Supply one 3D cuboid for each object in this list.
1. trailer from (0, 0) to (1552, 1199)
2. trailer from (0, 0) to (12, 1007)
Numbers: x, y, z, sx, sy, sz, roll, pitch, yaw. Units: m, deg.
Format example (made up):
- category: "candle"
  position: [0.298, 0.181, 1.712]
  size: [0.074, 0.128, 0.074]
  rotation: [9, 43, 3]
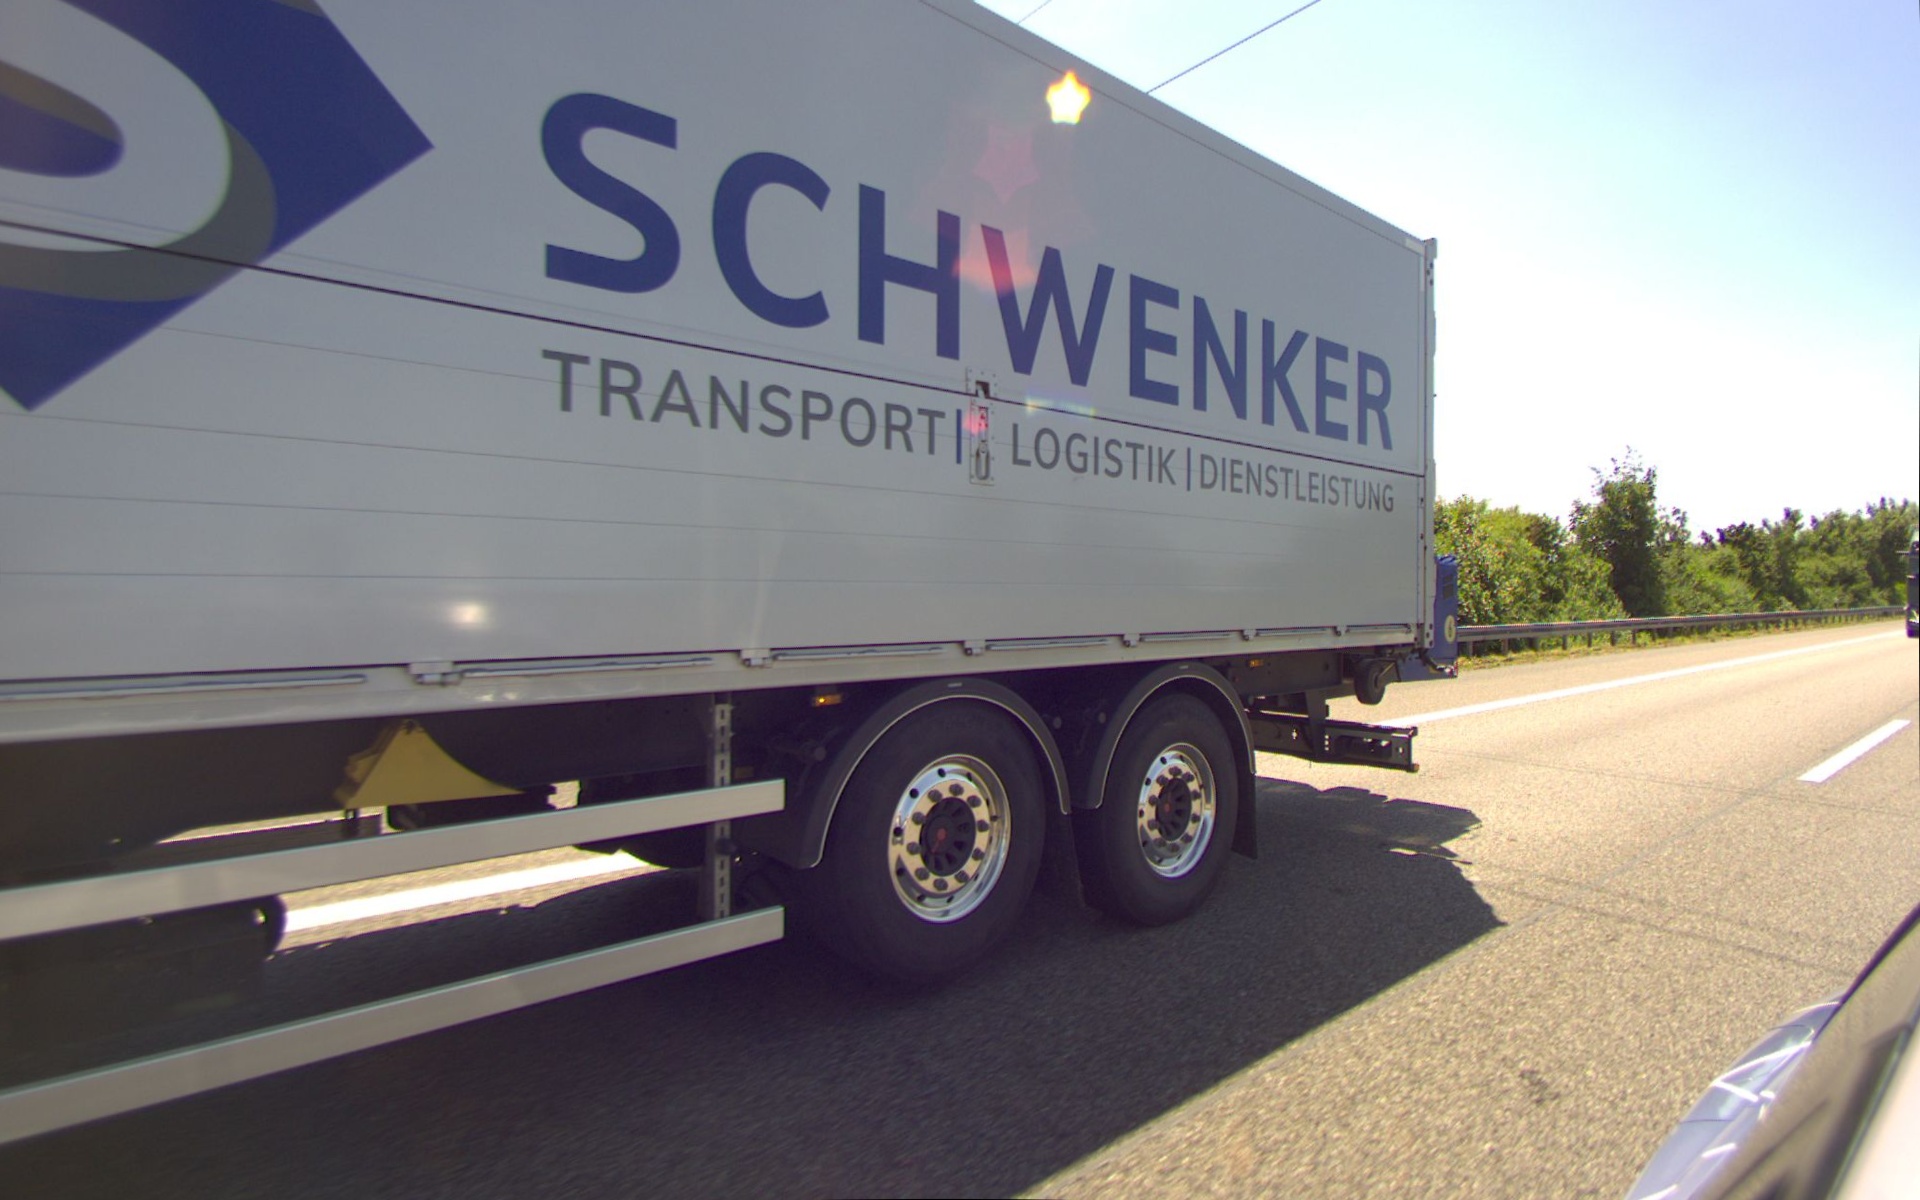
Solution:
- category: "trailer"
  position: [0.082, -0.674, 5.399]
  size: [7.987, 4.114, 2.950]
  rotation: [-1, 0, -41]
- category: "trailer"
  position: [-5.483, -0.605, 0.492]
  size: [7.190, 4.092, 2.925]
  rotation: [-1, 0, -41]
